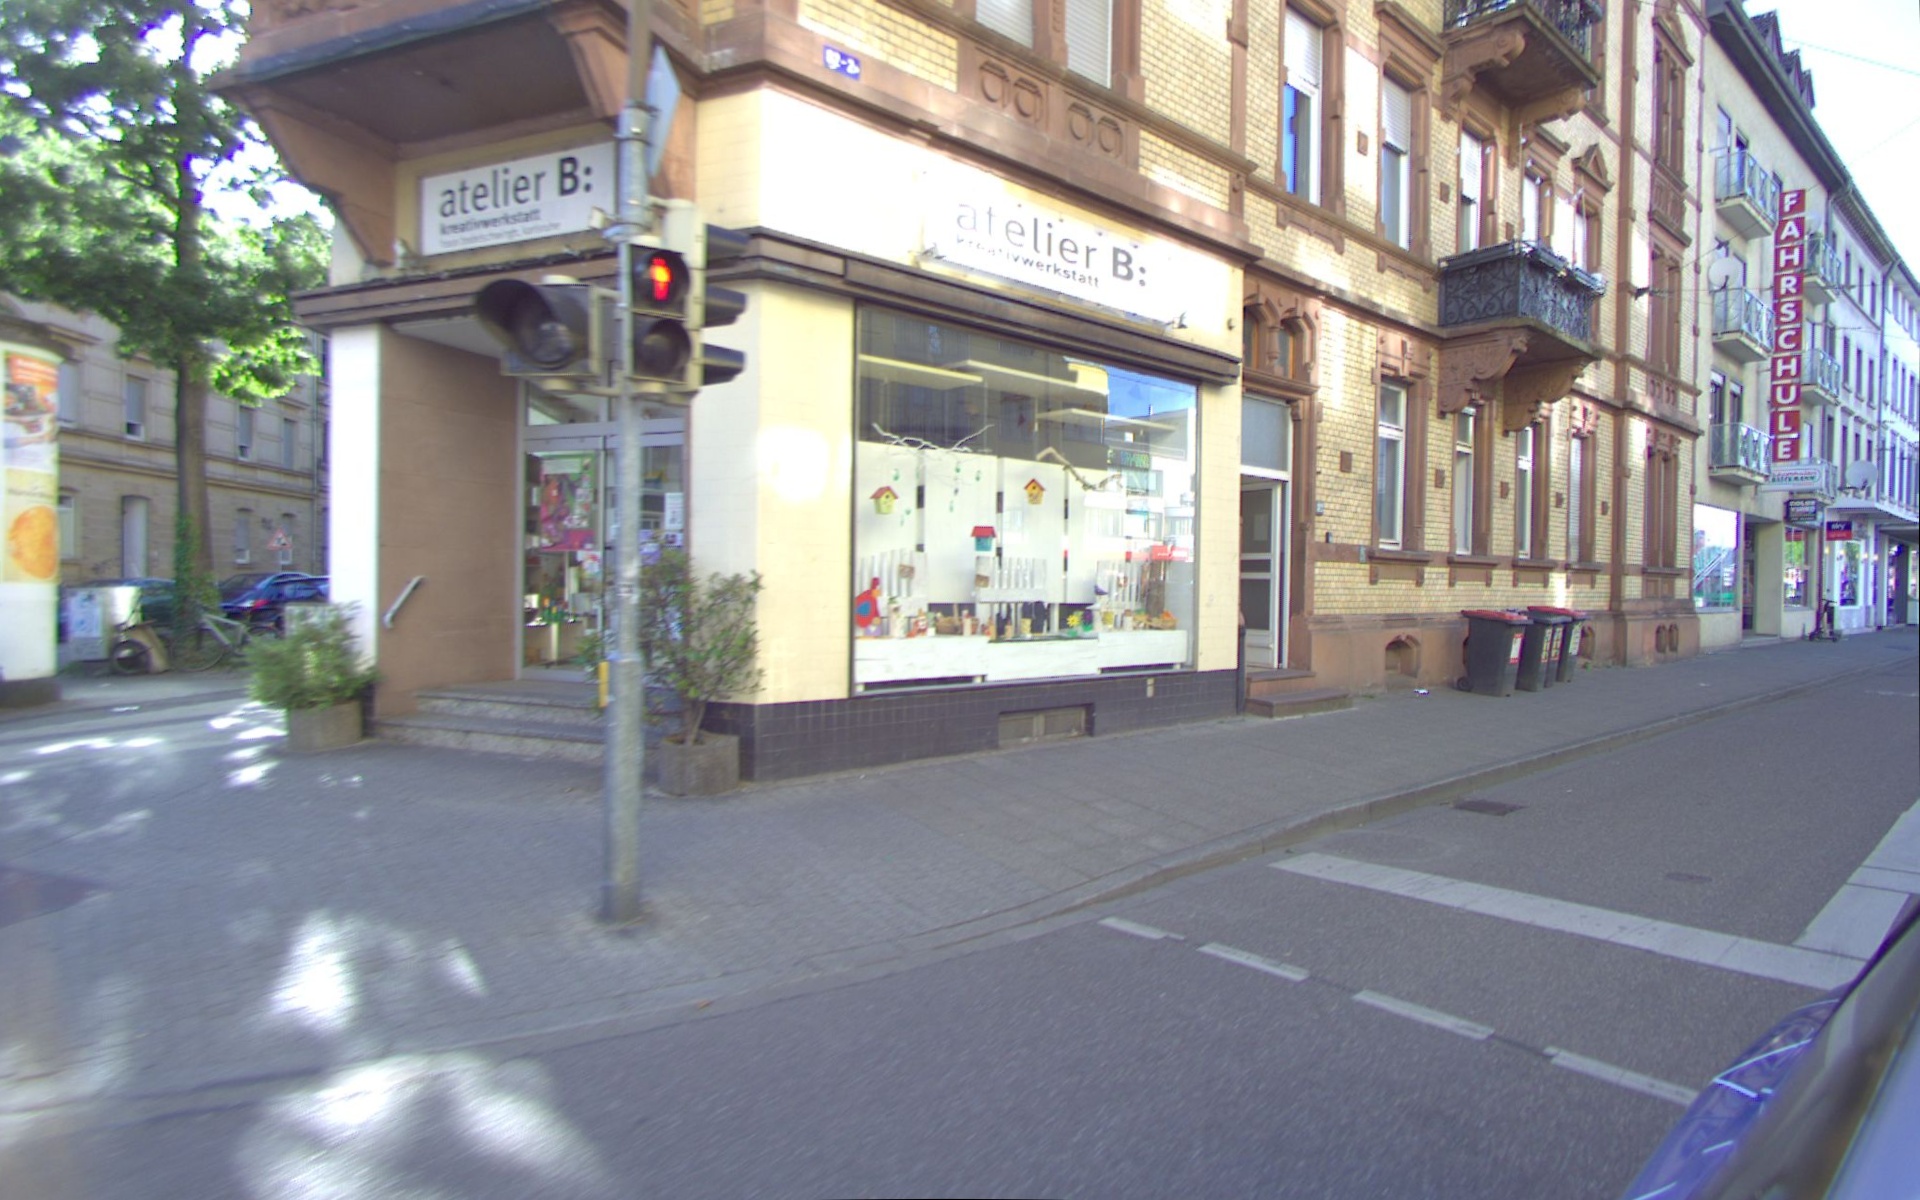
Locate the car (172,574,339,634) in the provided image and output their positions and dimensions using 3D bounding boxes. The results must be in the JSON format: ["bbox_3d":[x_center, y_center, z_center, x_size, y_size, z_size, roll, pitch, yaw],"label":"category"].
[{"bbox_3d":[-20.464,0.075,29.645,1.812,1.625,4.248,0,1,3],"label":"car"}]

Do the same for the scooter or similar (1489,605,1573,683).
[{"bbox_3d":[7.975,0.592,14.137,0.669,0.968,0.792,0,5,-42],"label":"scooter or similar"}]

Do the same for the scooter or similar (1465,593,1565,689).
[{"bbox_3d":[7.462,0.532,13.619,0.639,1.162,0.935,0,5,-42],"label":"scooter or similar"}]

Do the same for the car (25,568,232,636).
[{"bbox_3d":[-20.346,-0.001,25.037,1.809,1.517,4.254,0,1,-4],"label":"car"}]

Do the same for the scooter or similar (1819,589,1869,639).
[{"bbox_3d":[24.618,0.389,28.174,1.257,1.296,0.413,2,6,-24],"label":"scooter or similar"}]

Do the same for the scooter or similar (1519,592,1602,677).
[{"bbox_3d":[8.906,0.491,15.017,0.776,1.162,0.792,0,5,-42],"label":"scooter or similar"}]

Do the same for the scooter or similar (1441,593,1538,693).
[{"bbox_3d":[6.824,0.534,13.058,0.538,1.162,0.899,0,5,-42],"label":"scooter or similar"}]

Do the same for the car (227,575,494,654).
[{"bbox_3d":[-11.070,0.258,18.978,3.917,1.388,1.829,1,1,-10],"label":"car"}]

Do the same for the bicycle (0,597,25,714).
[{"bbox_3d":[-10.370,0.582,9.972,1.583,1.157,0.545,-2,1,-18],"label":"bicycle"}]
